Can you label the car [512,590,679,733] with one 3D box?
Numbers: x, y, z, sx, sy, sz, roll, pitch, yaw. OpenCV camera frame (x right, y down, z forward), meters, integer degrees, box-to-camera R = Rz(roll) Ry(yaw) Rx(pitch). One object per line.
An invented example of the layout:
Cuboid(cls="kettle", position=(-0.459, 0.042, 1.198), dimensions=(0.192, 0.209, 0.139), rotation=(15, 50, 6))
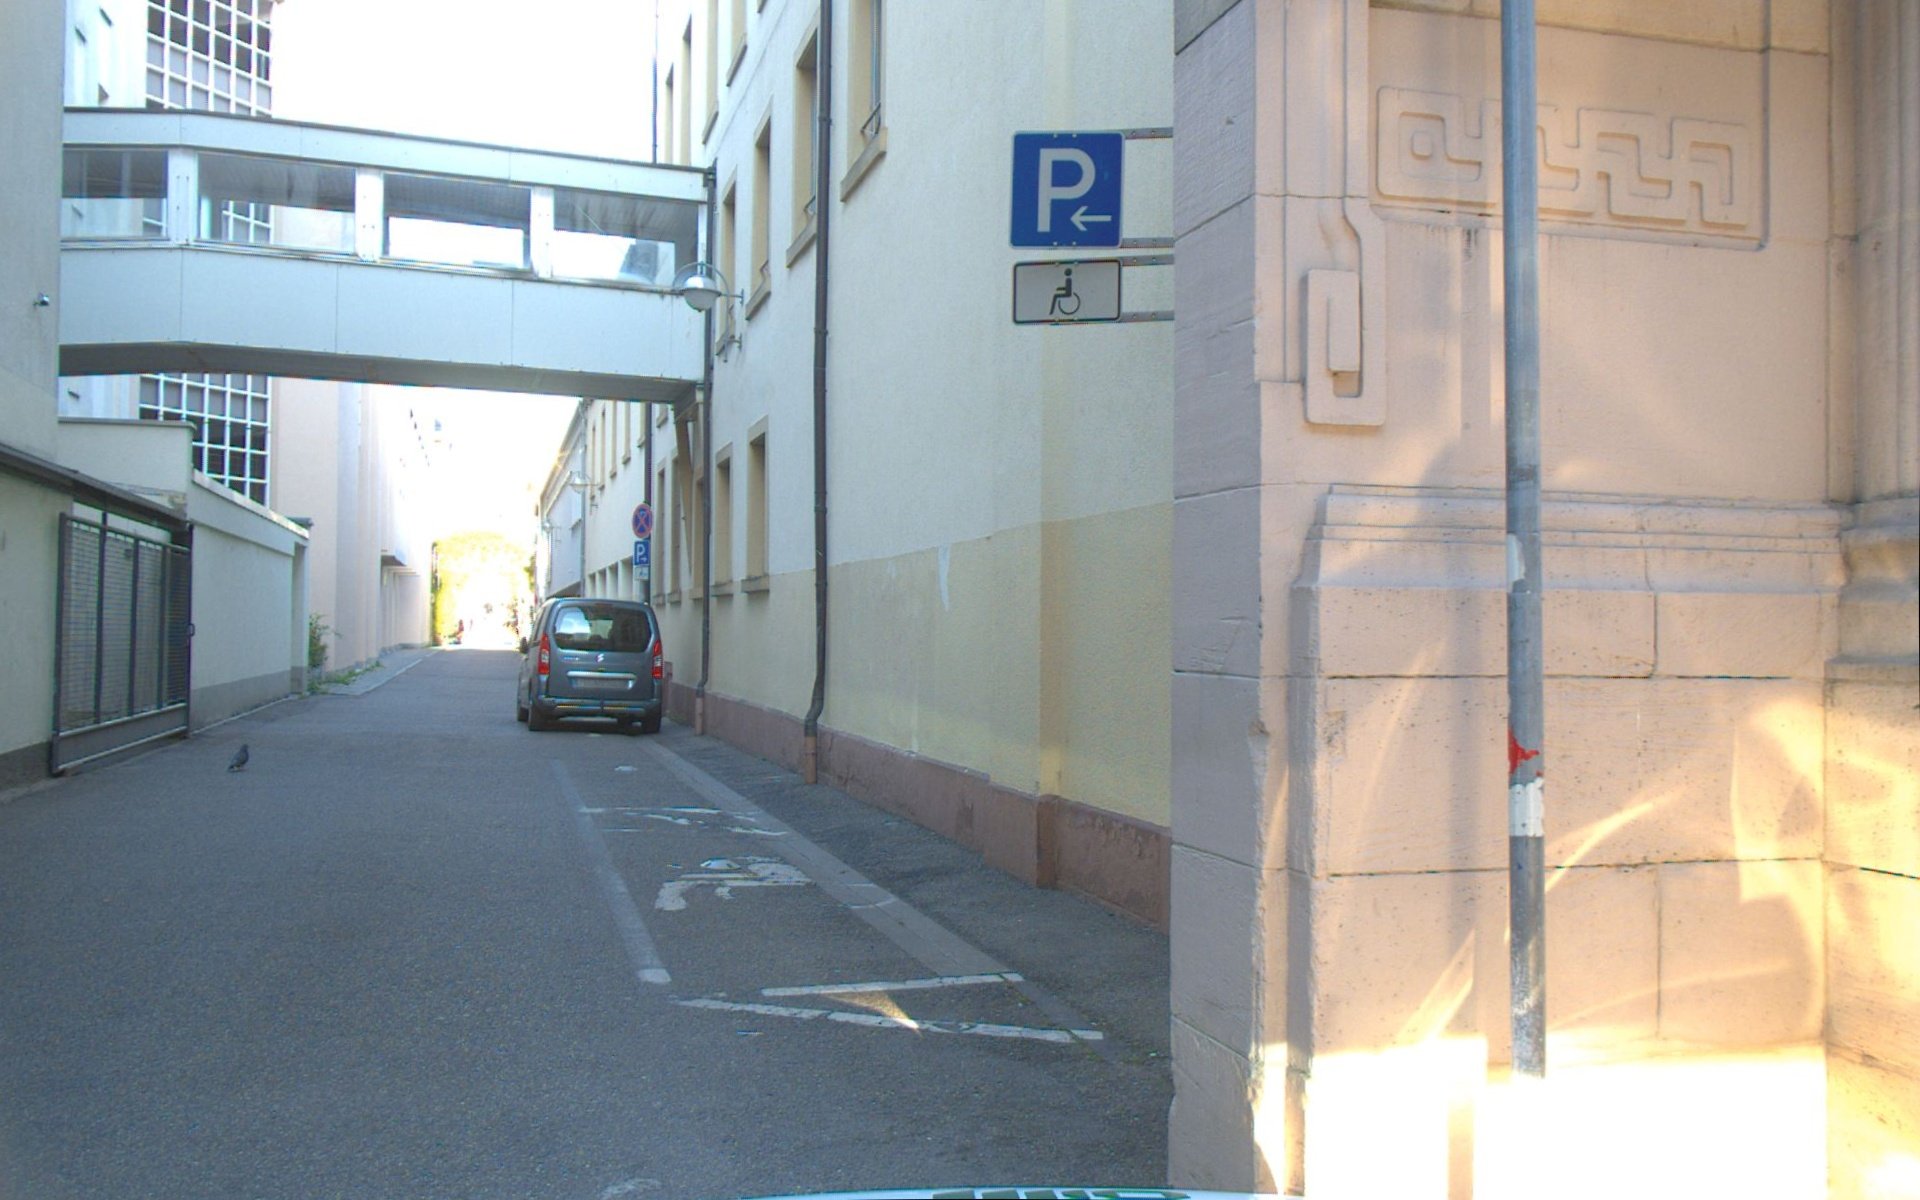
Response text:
Cuboid(cls="car", position=(-5.319, 0.826, 23.756), dimensions=(1.827, 1.786, 4.140), rotation=(4, -2, -19))
